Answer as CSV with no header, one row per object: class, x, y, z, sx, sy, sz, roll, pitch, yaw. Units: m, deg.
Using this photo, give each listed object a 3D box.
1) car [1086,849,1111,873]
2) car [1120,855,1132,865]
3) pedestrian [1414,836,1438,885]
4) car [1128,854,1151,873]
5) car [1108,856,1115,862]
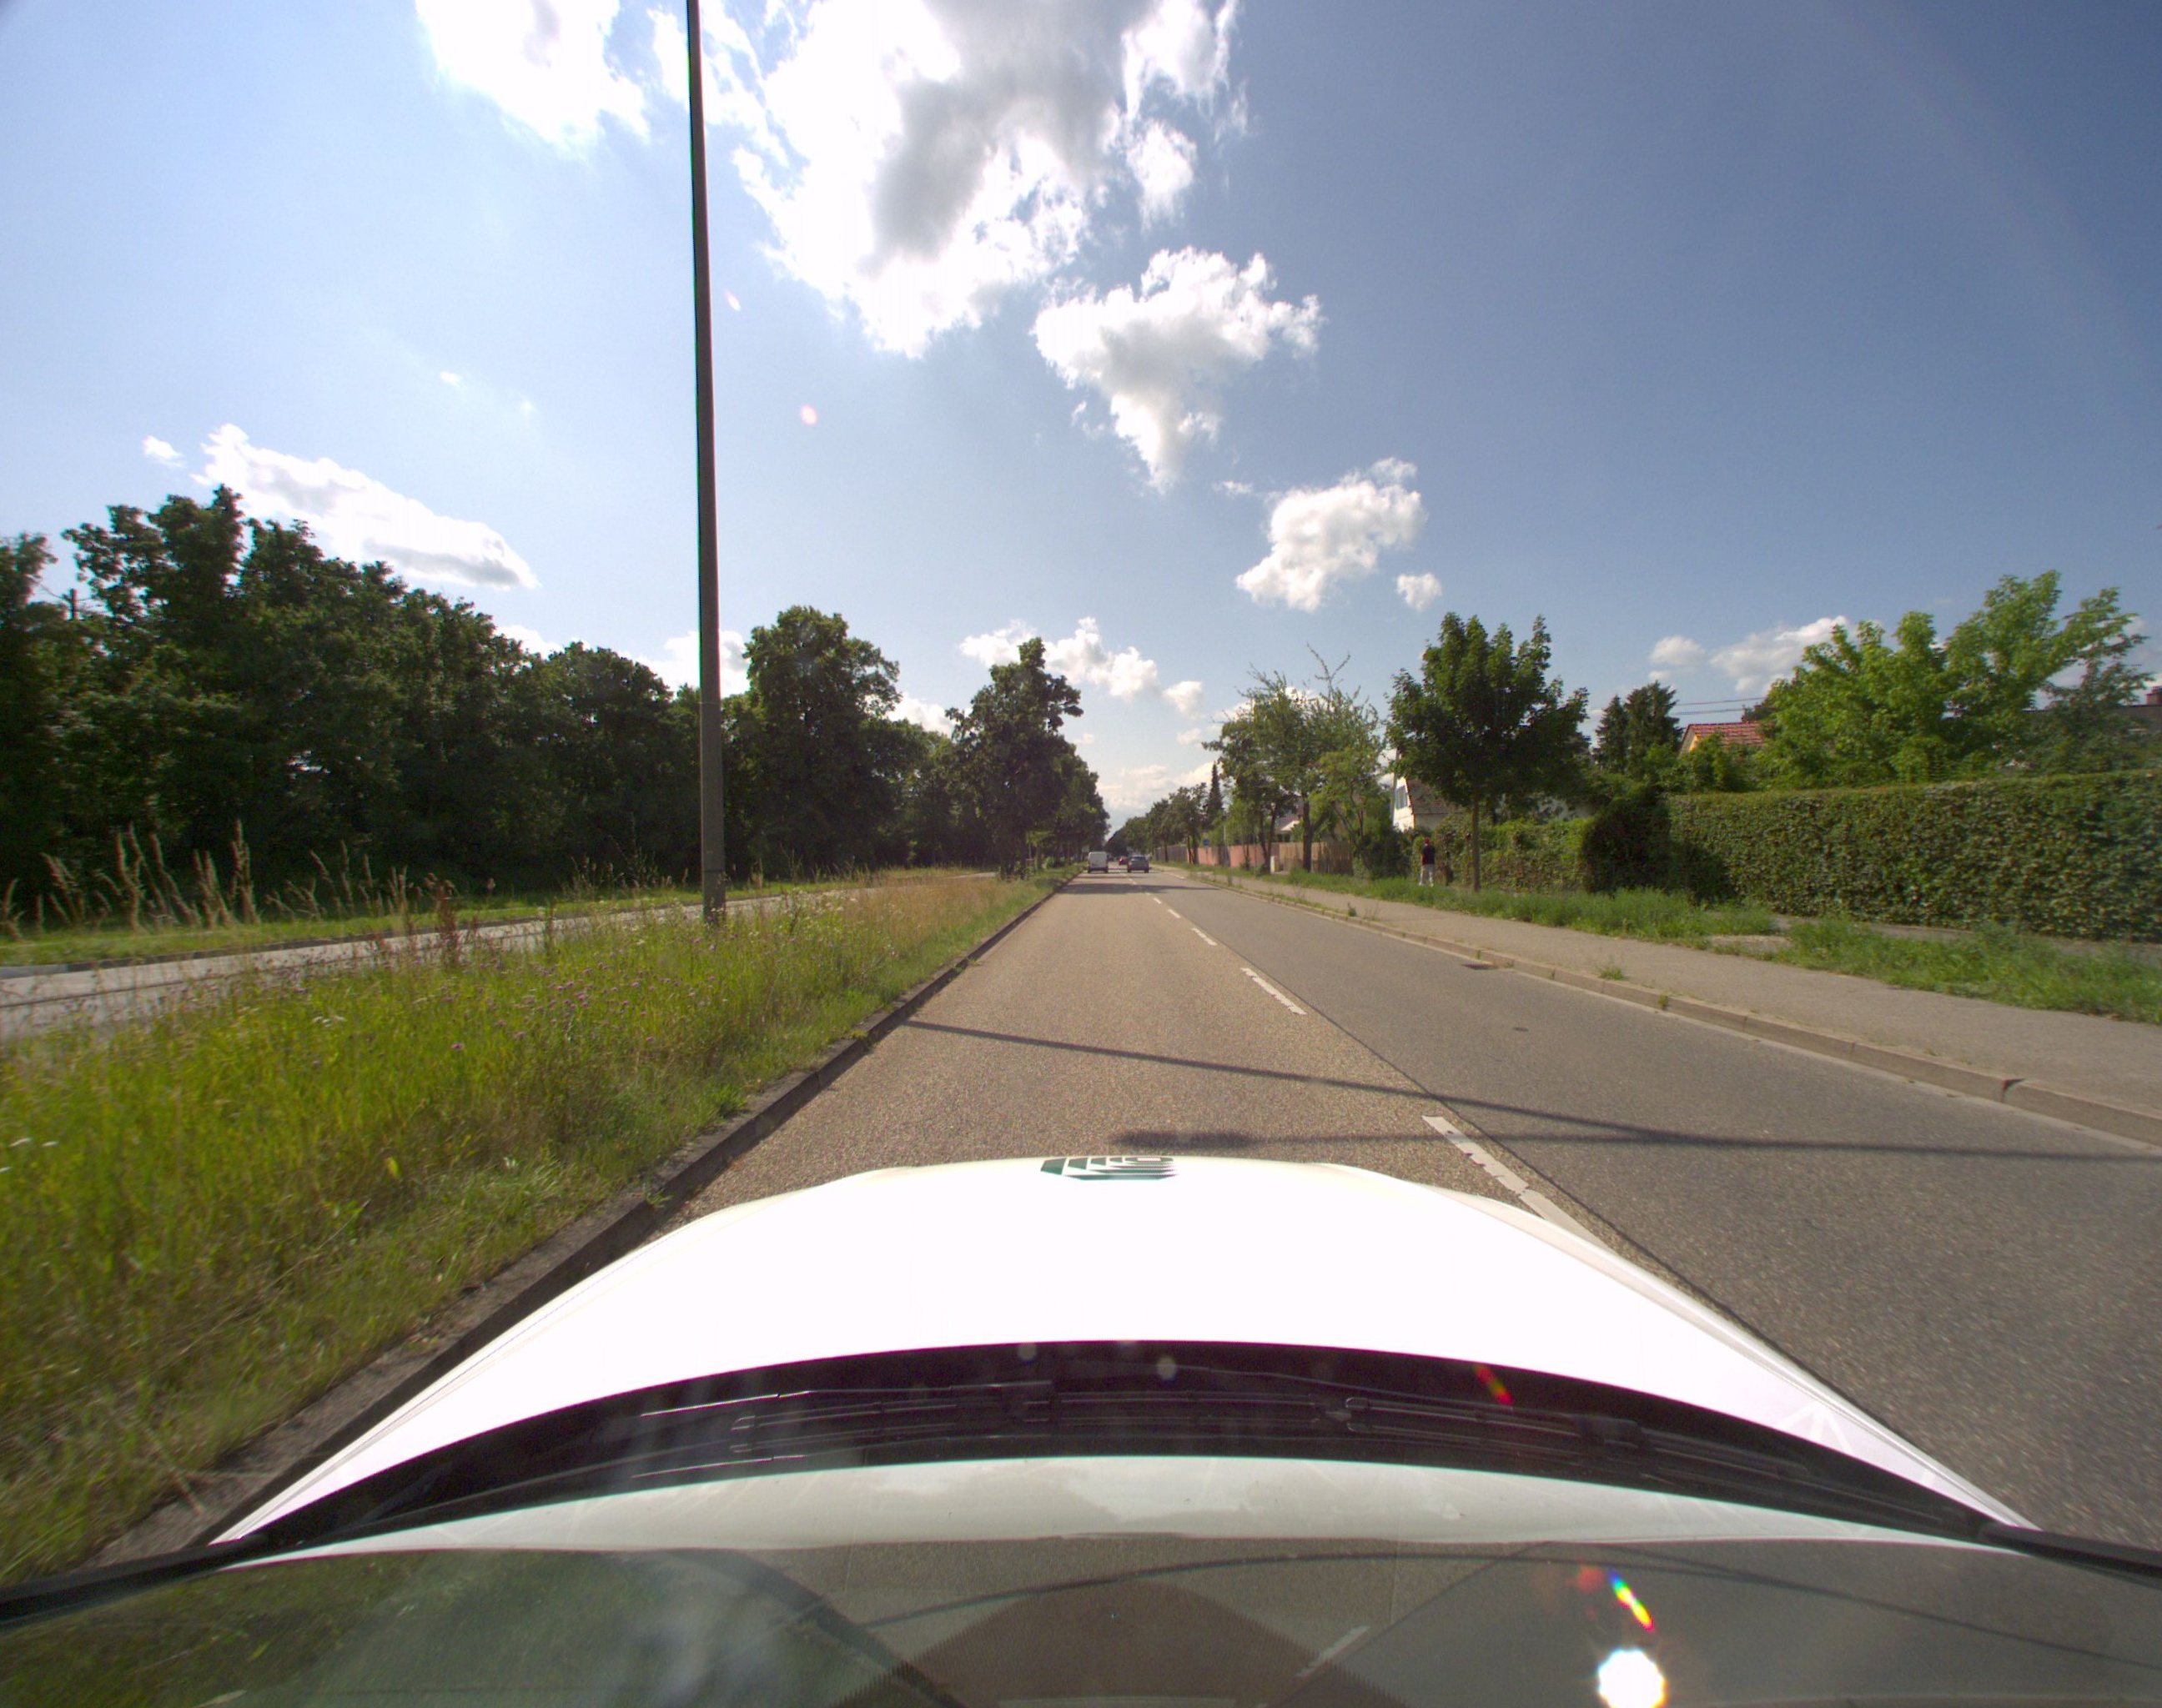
car,1.505,0.585,70.924,2.058,1.912,4.648,-1,0,1
car,7.392,1.006,134.831,1.873,1.587,4.001,-1,0,1
pedestrian,12.163,0.227,28.752,0.558,1.677,0.634,-1,0,1
car,5.124,0.832,71.948,1.868,1.589,4.186,-1,0,2
car,9.619,1.650,256.300,1.986,1.772,4.148,0,0,1
